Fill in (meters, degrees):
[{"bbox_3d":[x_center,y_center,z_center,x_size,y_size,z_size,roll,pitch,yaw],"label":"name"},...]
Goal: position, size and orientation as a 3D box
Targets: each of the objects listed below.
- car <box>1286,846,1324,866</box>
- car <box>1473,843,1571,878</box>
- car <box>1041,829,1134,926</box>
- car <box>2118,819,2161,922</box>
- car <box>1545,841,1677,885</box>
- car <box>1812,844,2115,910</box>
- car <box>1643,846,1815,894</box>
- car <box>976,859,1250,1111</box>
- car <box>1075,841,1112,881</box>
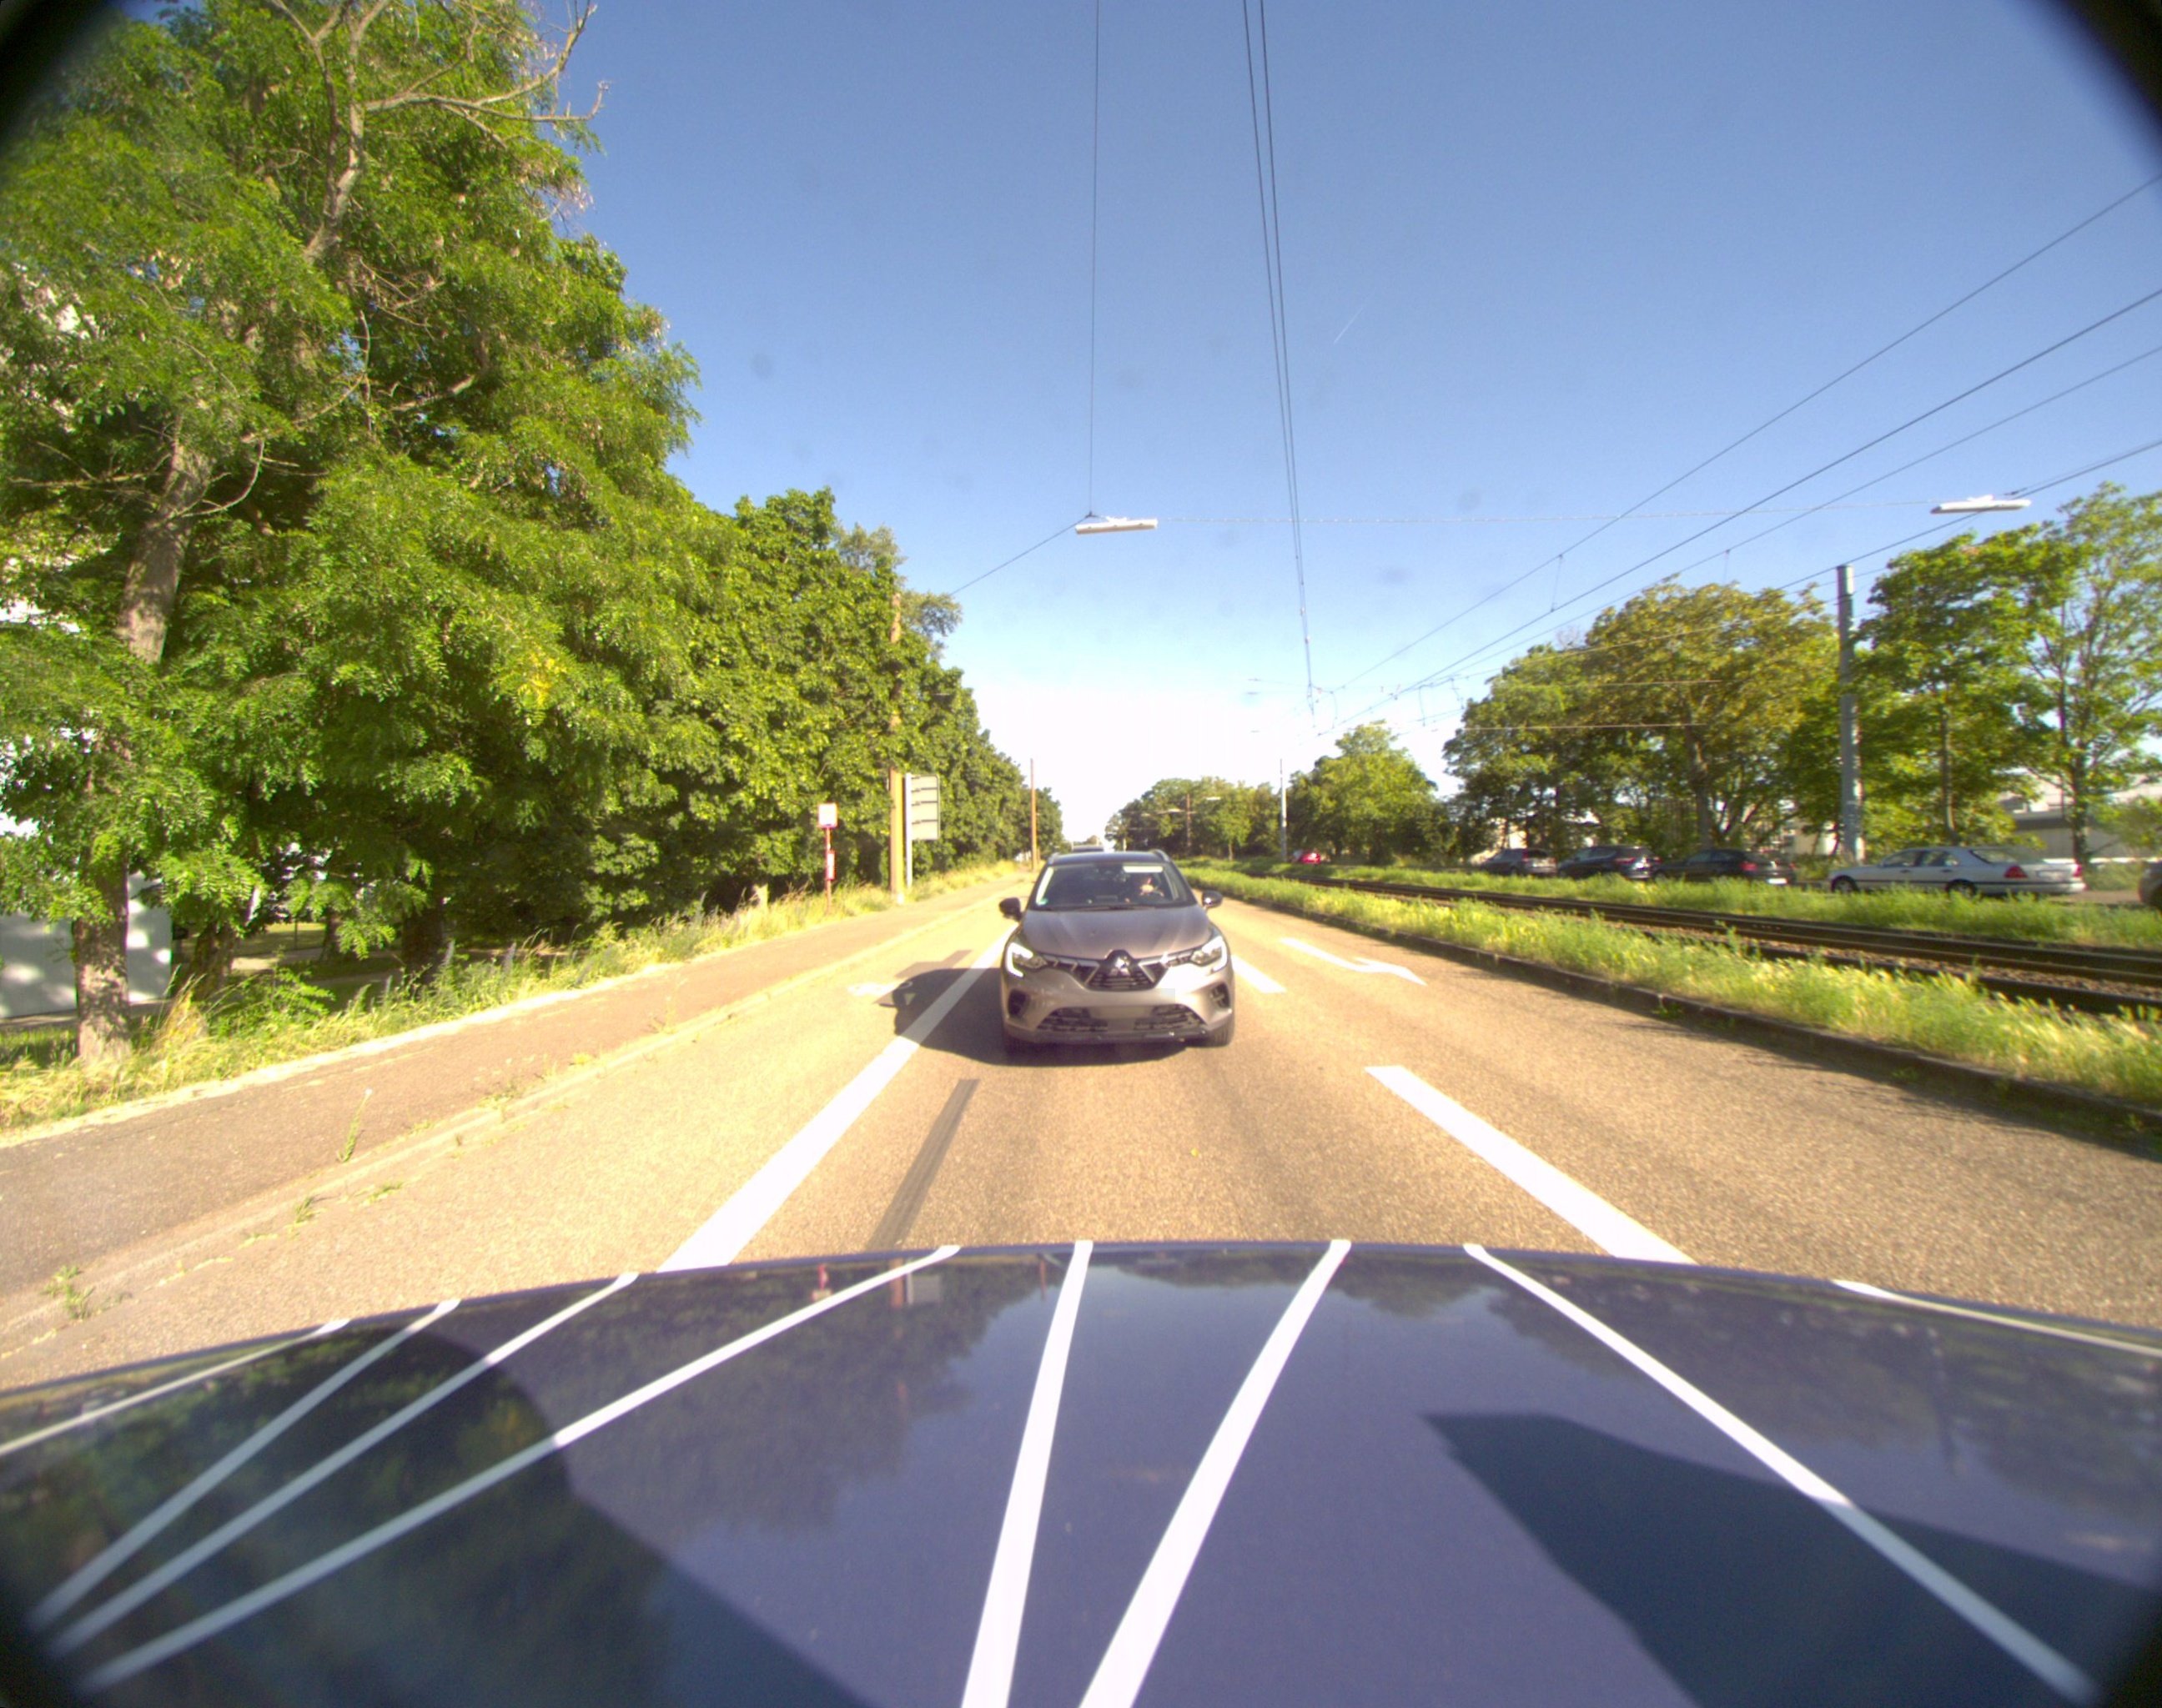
[{"bbox_3d":[20.997,0.194,71.470,2.321,1.723,4.798,-2,0,3],"label":"car"},{"bbox_3d":[21.561,0.332,37.411,2.130,1.554,4.560,-2,0,0],"label":"car"},{"bbox_3d":[0.172,0.539,19.017,1.998,2.113,4.000,-2,0,1],"label":"car"},{"bbox_3d":[21.241,0.275,12.420,2.207,1.923,4.685,-2,0,2],"label":"car"},{"bbox_3d":[21.303,0.348,30.829,2.130,1.578,4.616,-2,0,1],"label":"car"},{"bbox_3d":[21.542,0.509,18.938,2.130,1.372,4.616,-2,0,-1],"label":"car"},{"bbox_3d":[21.341,0.494,25.332,1.960,1.417,4.488,-2,0,1],"label":"car"},{"bbox_3d":[0.177,0.886,7.321,1.796,1.583,4.529,-1,0,-1],"label":"car"},{"bbox_3d":[0.662,0.422,45.291,1.999,2.198,4.786,-1,-1,-1],"label":"car"}]
